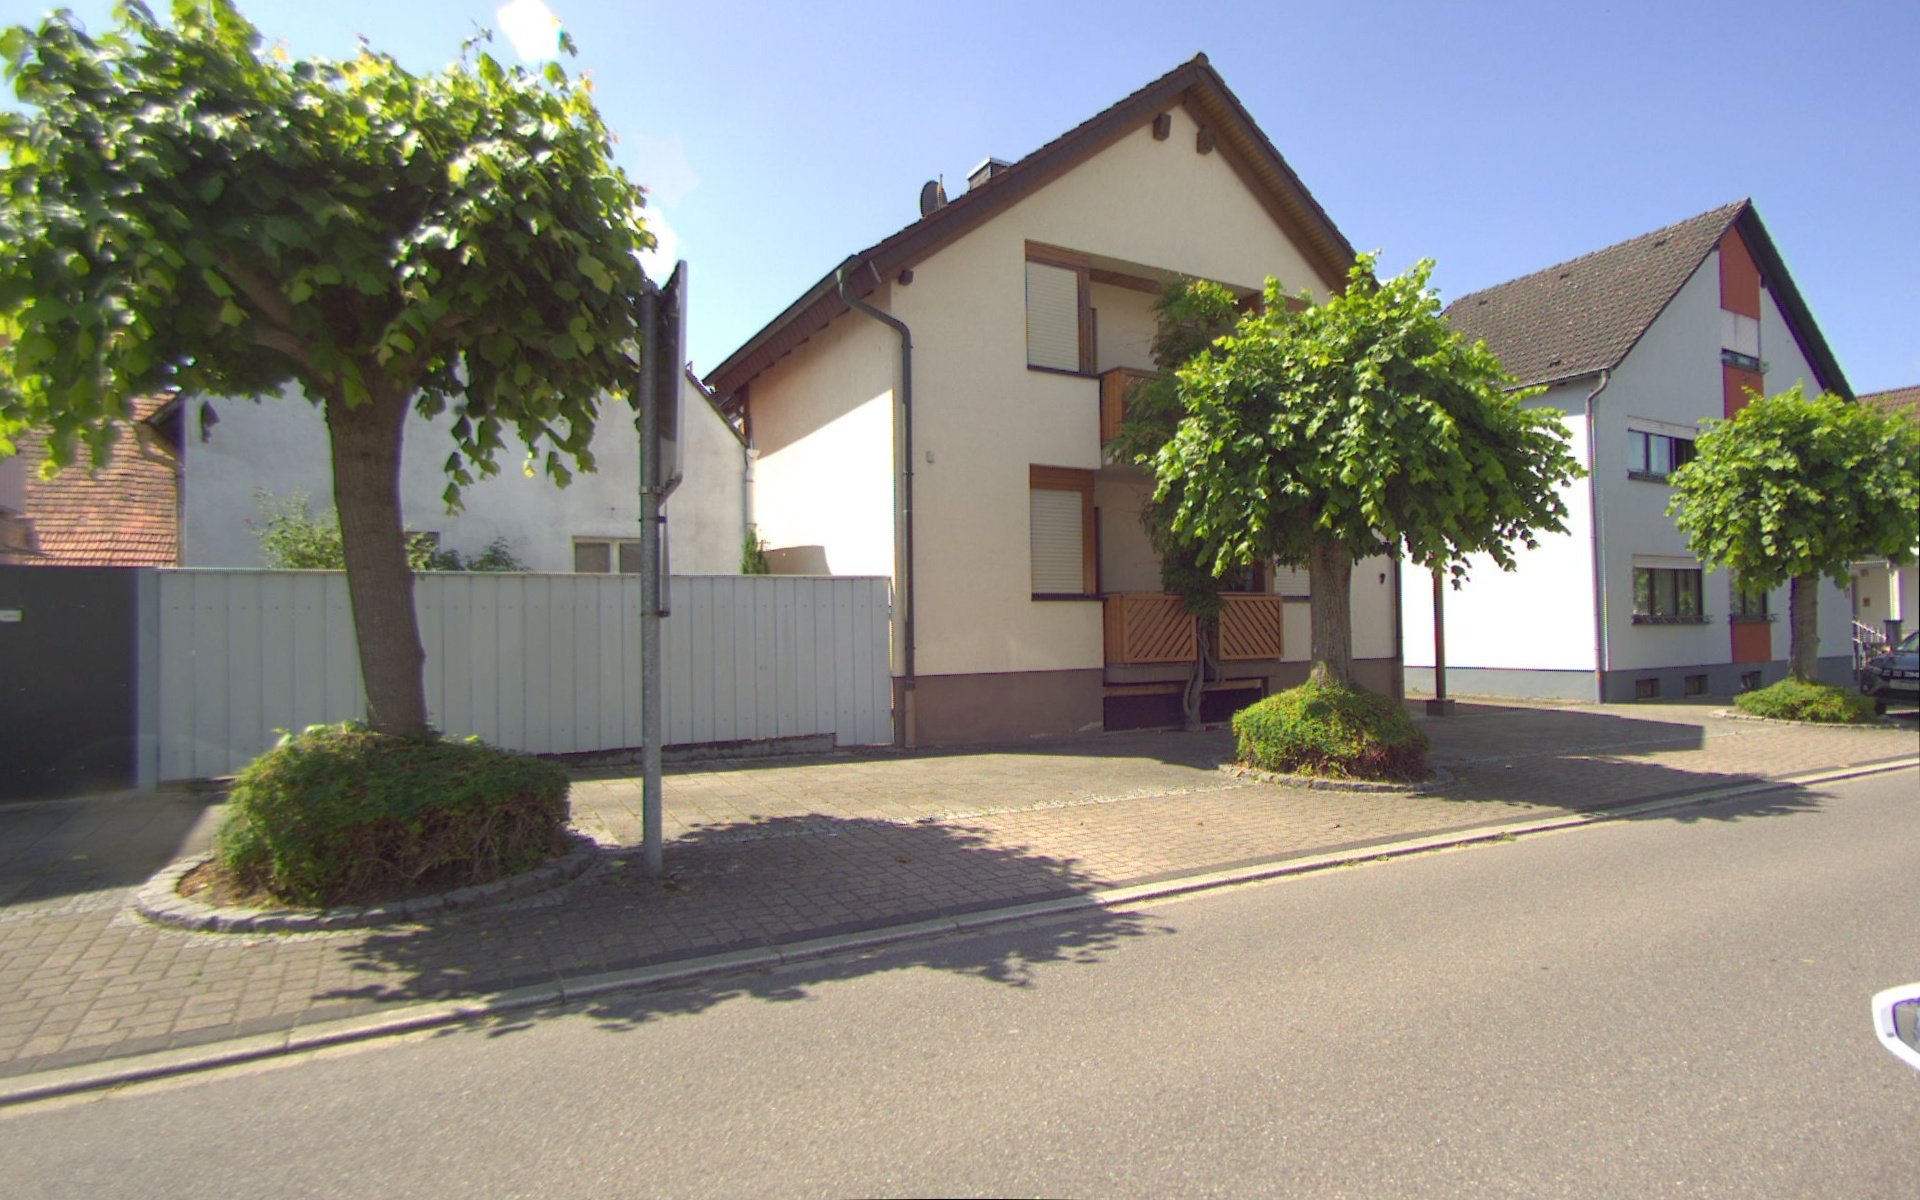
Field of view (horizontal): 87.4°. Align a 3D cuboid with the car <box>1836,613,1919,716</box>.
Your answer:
[{"bbox_3d":[17.047,1.064,17.129,4.083,1.634,1.845,1,0,-28],"label":"car"}]
